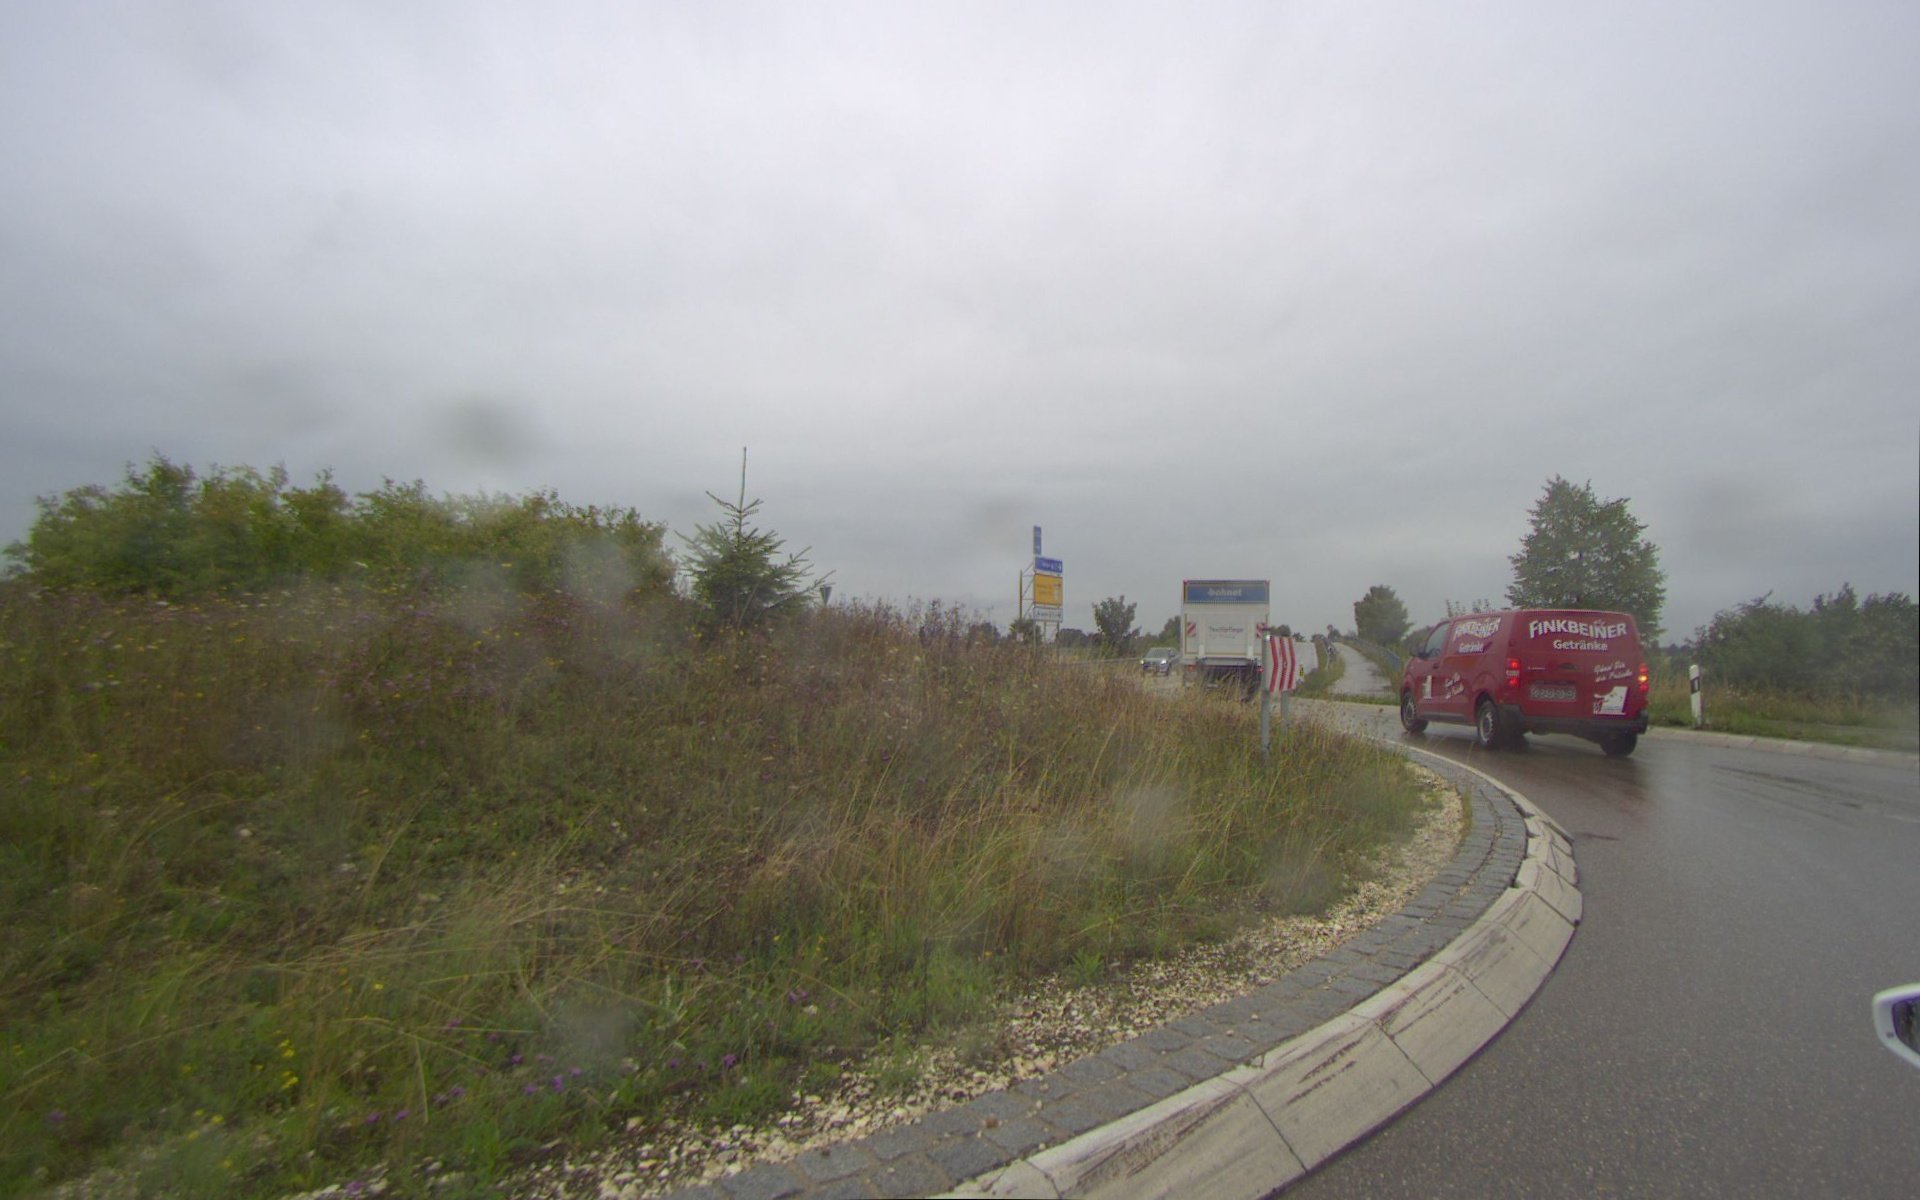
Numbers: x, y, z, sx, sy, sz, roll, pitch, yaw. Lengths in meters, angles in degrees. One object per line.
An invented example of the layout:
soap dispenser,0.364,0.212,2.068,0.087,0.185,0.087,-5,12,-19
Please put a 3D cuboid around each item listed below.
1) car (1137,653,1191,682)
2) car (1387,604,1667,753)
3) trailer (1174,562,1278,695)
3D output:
car,12.025,3.956,58.971,1.776,1.595,3.990,0,-3,33
car,8.286,1.085,15.333,1.959,1.895,4.982,-1,-2,7
trailer,8.807,1.019,34.265,2.783,3.869,9.722,0,-2,11
